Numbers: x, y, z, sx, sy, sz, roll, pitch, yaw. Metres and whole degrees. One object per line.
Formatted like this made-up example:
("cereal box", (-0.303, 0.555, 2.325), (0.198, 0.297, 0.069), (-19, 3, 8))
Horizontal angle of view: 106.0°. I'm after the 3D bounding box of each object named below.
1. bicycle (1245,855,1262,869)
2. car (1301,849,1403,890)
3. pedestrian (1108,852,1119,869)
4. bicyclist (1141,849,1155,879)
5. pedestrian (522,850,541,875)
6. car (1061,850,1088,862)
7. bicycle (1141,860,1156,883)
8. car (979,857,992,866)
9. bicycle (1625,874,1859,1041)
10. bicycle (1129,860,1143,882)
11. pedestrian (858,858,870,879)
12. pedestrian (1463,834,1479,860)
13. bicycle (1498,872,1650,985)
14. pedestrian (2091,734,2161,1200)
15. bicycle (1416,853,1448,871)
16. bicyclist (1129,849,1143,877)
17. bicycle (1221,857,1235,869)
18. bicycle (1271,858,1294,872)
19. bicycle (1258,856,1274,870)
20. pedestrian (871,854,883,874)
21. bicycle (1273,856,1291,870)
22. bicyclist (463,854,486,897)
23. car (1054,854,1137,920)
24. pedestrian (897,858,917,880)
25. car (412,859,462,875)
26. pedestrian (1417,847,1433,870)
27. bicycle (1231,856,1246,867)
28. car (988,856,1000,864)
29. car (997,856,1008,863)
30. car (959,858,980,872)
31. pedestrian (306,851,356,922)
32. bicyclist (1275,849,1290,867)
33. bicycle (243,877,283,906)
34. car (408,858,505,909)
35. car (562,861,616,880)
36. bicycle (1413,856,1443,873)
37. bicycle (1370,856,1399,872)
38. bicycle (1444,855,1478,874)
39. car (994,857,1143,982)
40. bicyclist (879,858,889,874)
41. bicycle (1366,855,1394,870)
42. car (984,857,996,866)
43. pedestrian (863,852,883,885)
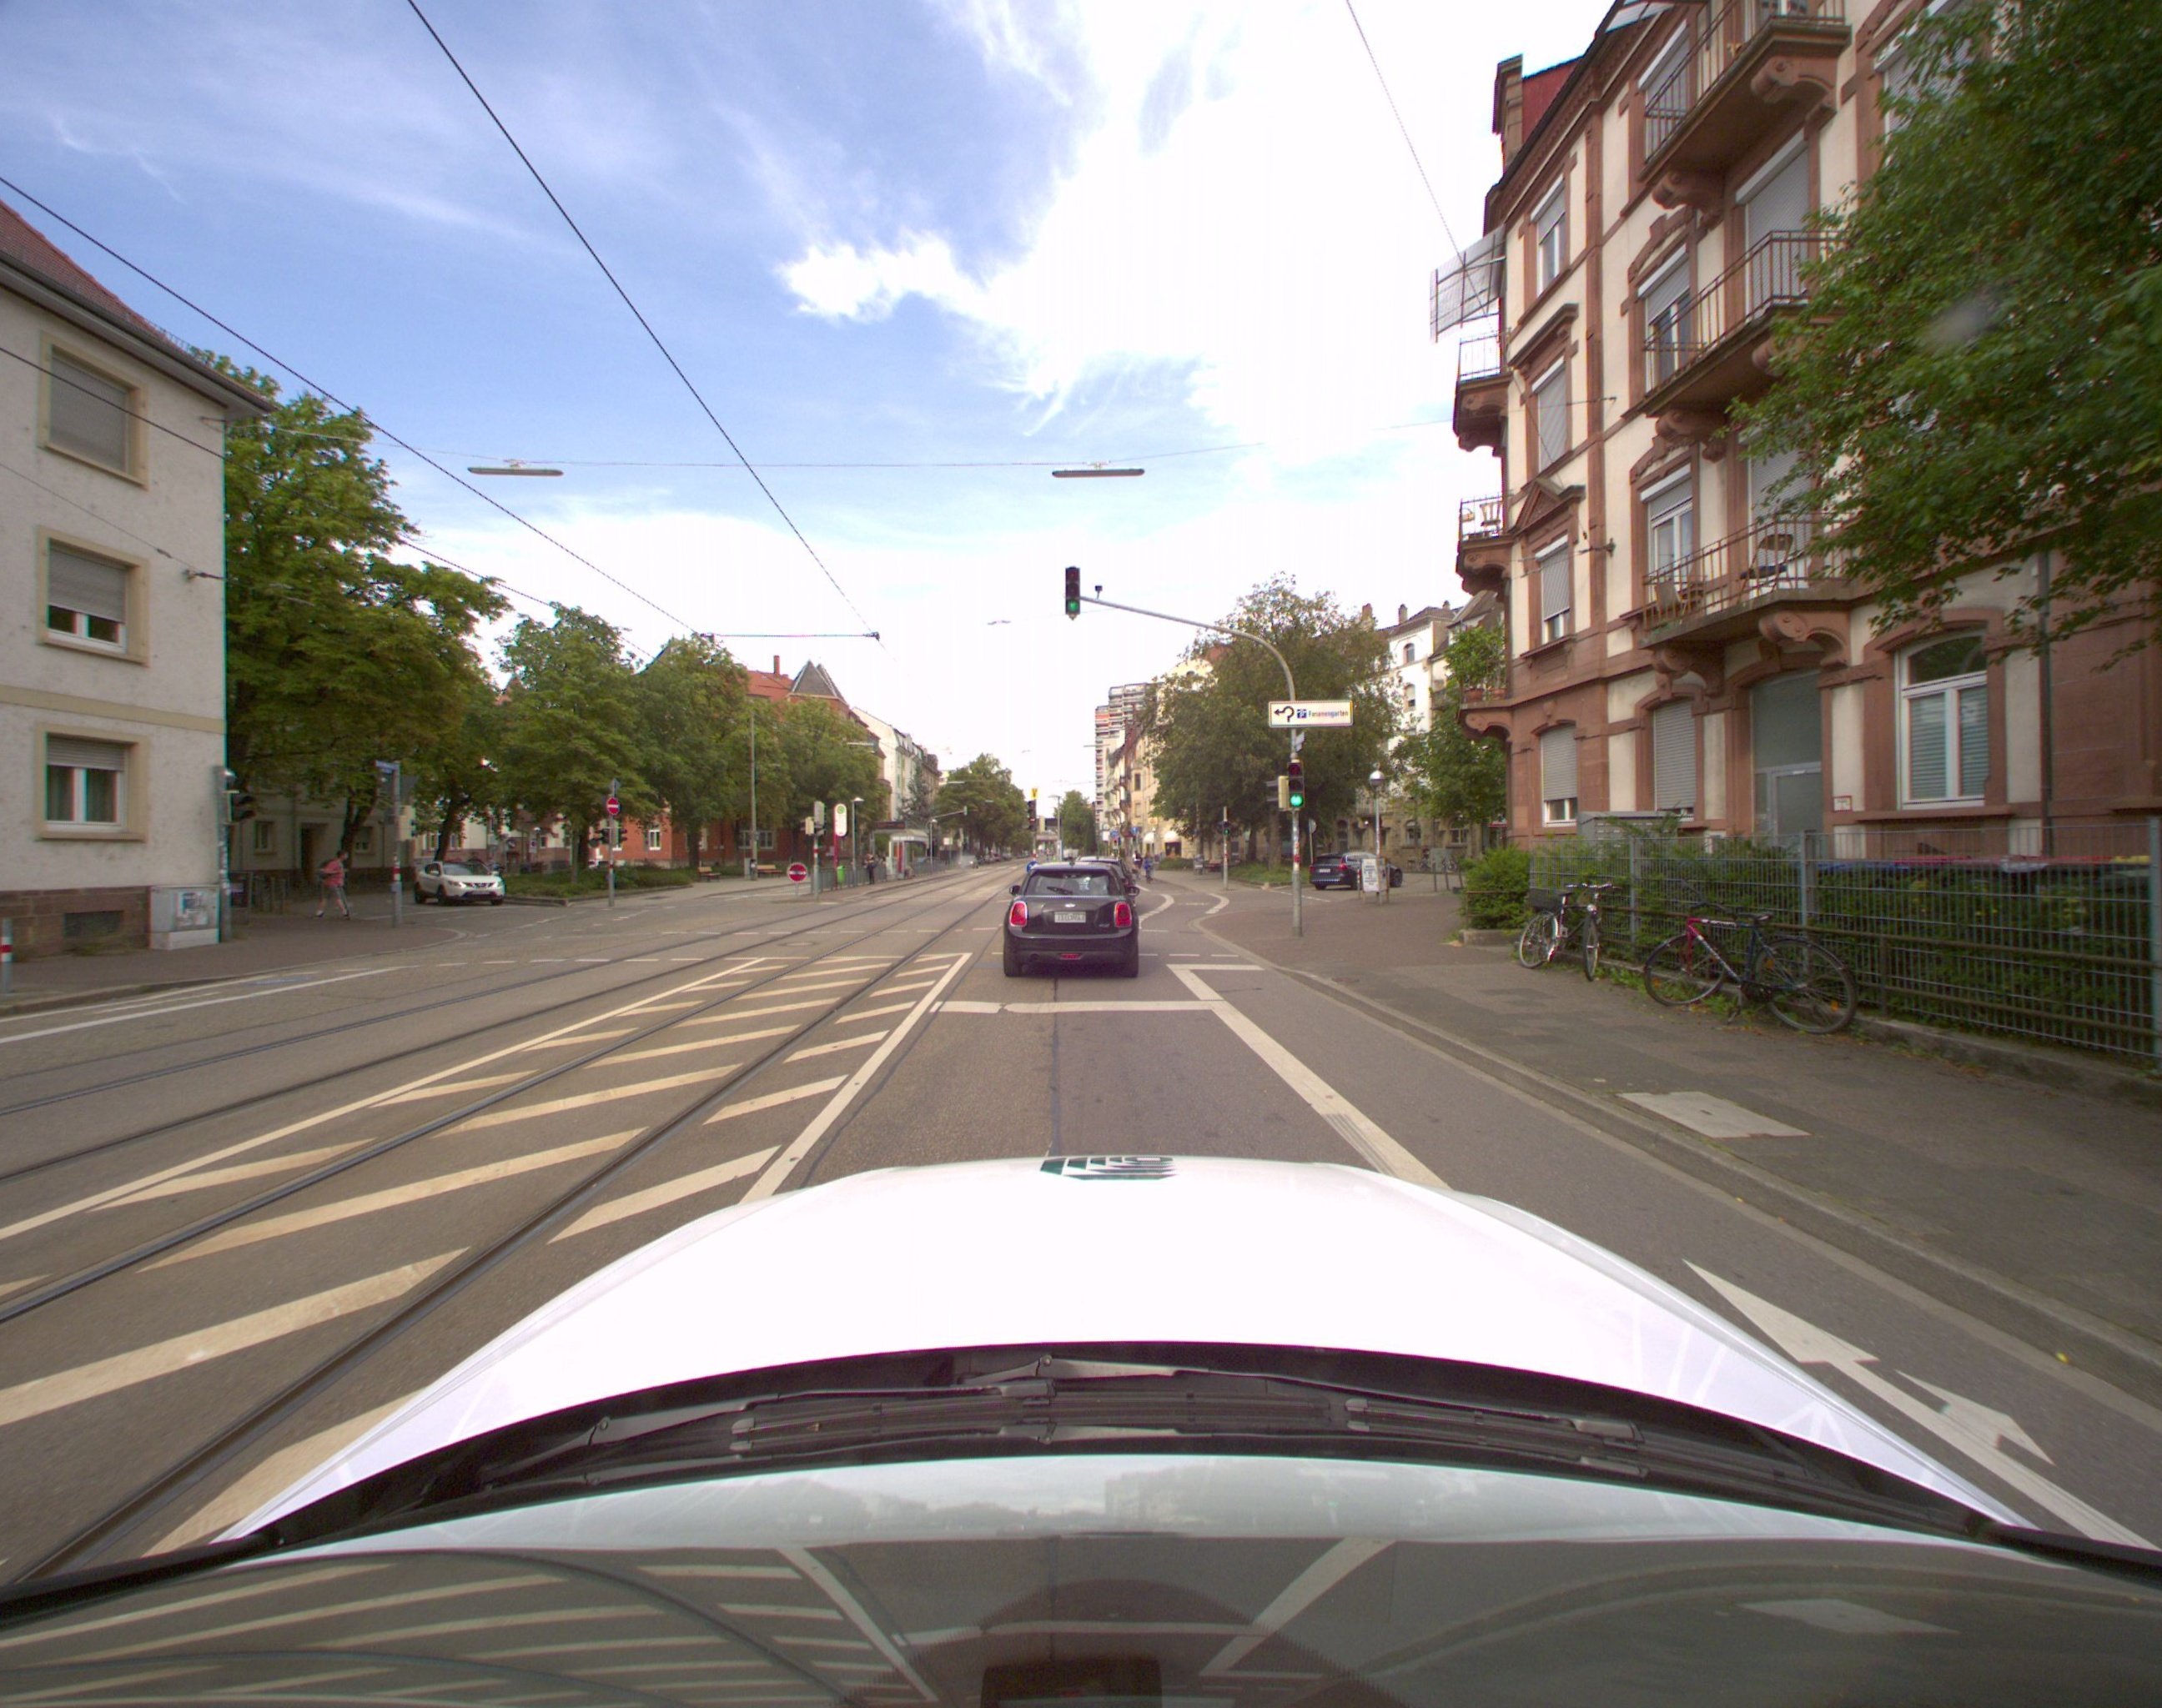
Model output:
("bicycle", (14.912, 0.684, 70.423), (0.526, 1.128, 1.905), (-1, 0, 40))
("car", (10.629, 0.565, 31.781), (4.504, 1.441, 1.736), (-1, 0, -42))
("pedestrian", (3.325, 0.688, 83.402), (0.723, 1.674, 0.840), (-4, 0, 45))
("bicyclist", (3.516, 0.521, 42.502), (0.593, 1.550, 1.013), (-1, 0, -2))
("pedestrian", (-38.511, 0.596, 57.070), (0.745, 1.754, 0.736), (-1, 0, 16))
("car", (-1.320, 0.422, 163.560), (5.067, 2.272, 2.368), (-1, 0, -42))
("bicycle", (3.520, 0.886, 42.504), (0.597, 1.170, 1.695), (-1, 0, -1))
("car", (-15.298, 1.163, 130.755), (1.762, 1.395, 3.996), (-1, 0, -2))
("bicycle", (5.123, 0.738, 6.448), (0.507, 1.088, 1.549), (-4, 0, -1))
("bicycle", (3.135, 0.938, 46.204), (0.681, 1.170, 1.696), (-1, 0, 0))
("pedestrian", (-17.972, 1.229, 67.463), (0.832, 1.703, 0.731), (-1, 0, -7))
("pedestrian", (25.444, -0.456, 53.089), (0.826, 1.623, 0.736), (-1, 0, 18))
("bicycle", (5.481, 0.778, 9.183), (0.669, 1.106, 1.671), (-1, 0, -1))
("pedestrian", (4.409, 0.424, 2.781), (0.727, 1.754, 0.950), (-1, 0, 3))
("bicycle", (23.387, 0.537, 54.244), (1.879, 1.128, 0.533), (-1, 0, 3))
("bicyclist", (3.124, 0.518, 46.145), (0.681, 1.564, 0.998), (-1, 0, 0))
("bicycle", (13.085, 0.830, 72.604), (0.444, 1.055, 1.659), (-1, 0, 40))
("bicycle", (16.129, 0.852, 65.251), (0.619, 1.076, 1.801), (-1, 0, -37))
("bicycle", (15.848, 0.746, 69.627), (0.526, 1.128, 1.905), (-1, 0, 40))
("pedestrian", (-17.786, 0.892, 71.004), (0.832, 1.703, 0.731), (-1, 0, -7))
("bicycle", (16.921, 0.741, 68.446), (0.659, 1.128, 1.905), (-1, 0, 40))
("bicyclist", (-25.533, 0.900, 34.286), (0.614, 1.775, 0.902), (-1, 0, -29))
("car", (0.393, 0.780, 21.191), (1.920, 1.510, 4.001), (-1, 0, 1))
("pedestrian", (-10.378, 0.892, 48.477), (1.057, 1.294, 0.983), (-1, 0, -7))
("car", (-59.210, 1.224, 74.905), (3.953, 1.395, 1.825), (-1, 0, 21))
("pedestrian", (24.788, 0.319, 58.668), (0.730, 1.676, 0.833), (-1, 0, -9))
("bicycle", (13.919, 0.668, 71.795), (0.526, 0.972, 1.659), (-1, 0, 40))
("car", (-16.744, 1.090, 157.423), (1.988, 1.552, 3.998), (-1, 0, -1))
("car", (-17.378, 1.233, 180.369), (1.988, 1.552, 3.998), (-1, 0, -1))
("car", (-12.081, 1.153, 88.434), (1.746, 1.441, 4.000), (1, 0, 0))
("pedestrian", (-20.544, 0.865, 22.310), (0.723, 1.900, 0.840), (-1, 0, 33))
("bicyclist", (16.131, 0.318, 65.234), (0.619, 1.473, 0.905), (-1, 0, -37))
("bicycle", (-30.553, 1.397, 30.434), (0.496, 1.008, 1.824), (-1, 0, -28))
("car", (-22.861, 1.093, 29.777), (4.105, 1.721, 1.852), (-4, -3, 38))
("car", (-41.640, 1.382, 68.896), (3.953, 1.478, 1.825), (-1, 0, 21))
("bicycle", (23.481, 0.685, 55.150), (1.890, 1.128, 0.530), (-1, 0, -13))
("bicycle", (22.141, 0.719, 59.432), (1.885, 1.128, 0.532), (-1, 0, -6))
("bicycle", (23.871, 0.672, 51.217), (1.882, 1.128, 0.532), (-1, 0, -1))
("car", (-0.092, 0.778, 11.644), (1.745, 1.441, 4.001), (1, 0, 1))
("bicyclist", (-16.322, 0.998, 67.496), (0.659, 1.339, 0.835), (-1, 0, -2))
("bicycle", (22.043, 0.621, 60.014), (1.885, 1.128, 0.532), (-1, 0, -6))
("car", (-15.476, 1.279, 138.422), (1.762, 1.395, 3.996), (-1, 0, -2))
("pedestrian", (-10.347, 0.720, 40.504), (0.851, 1.621, 0.841), (-1, 0, -7))
